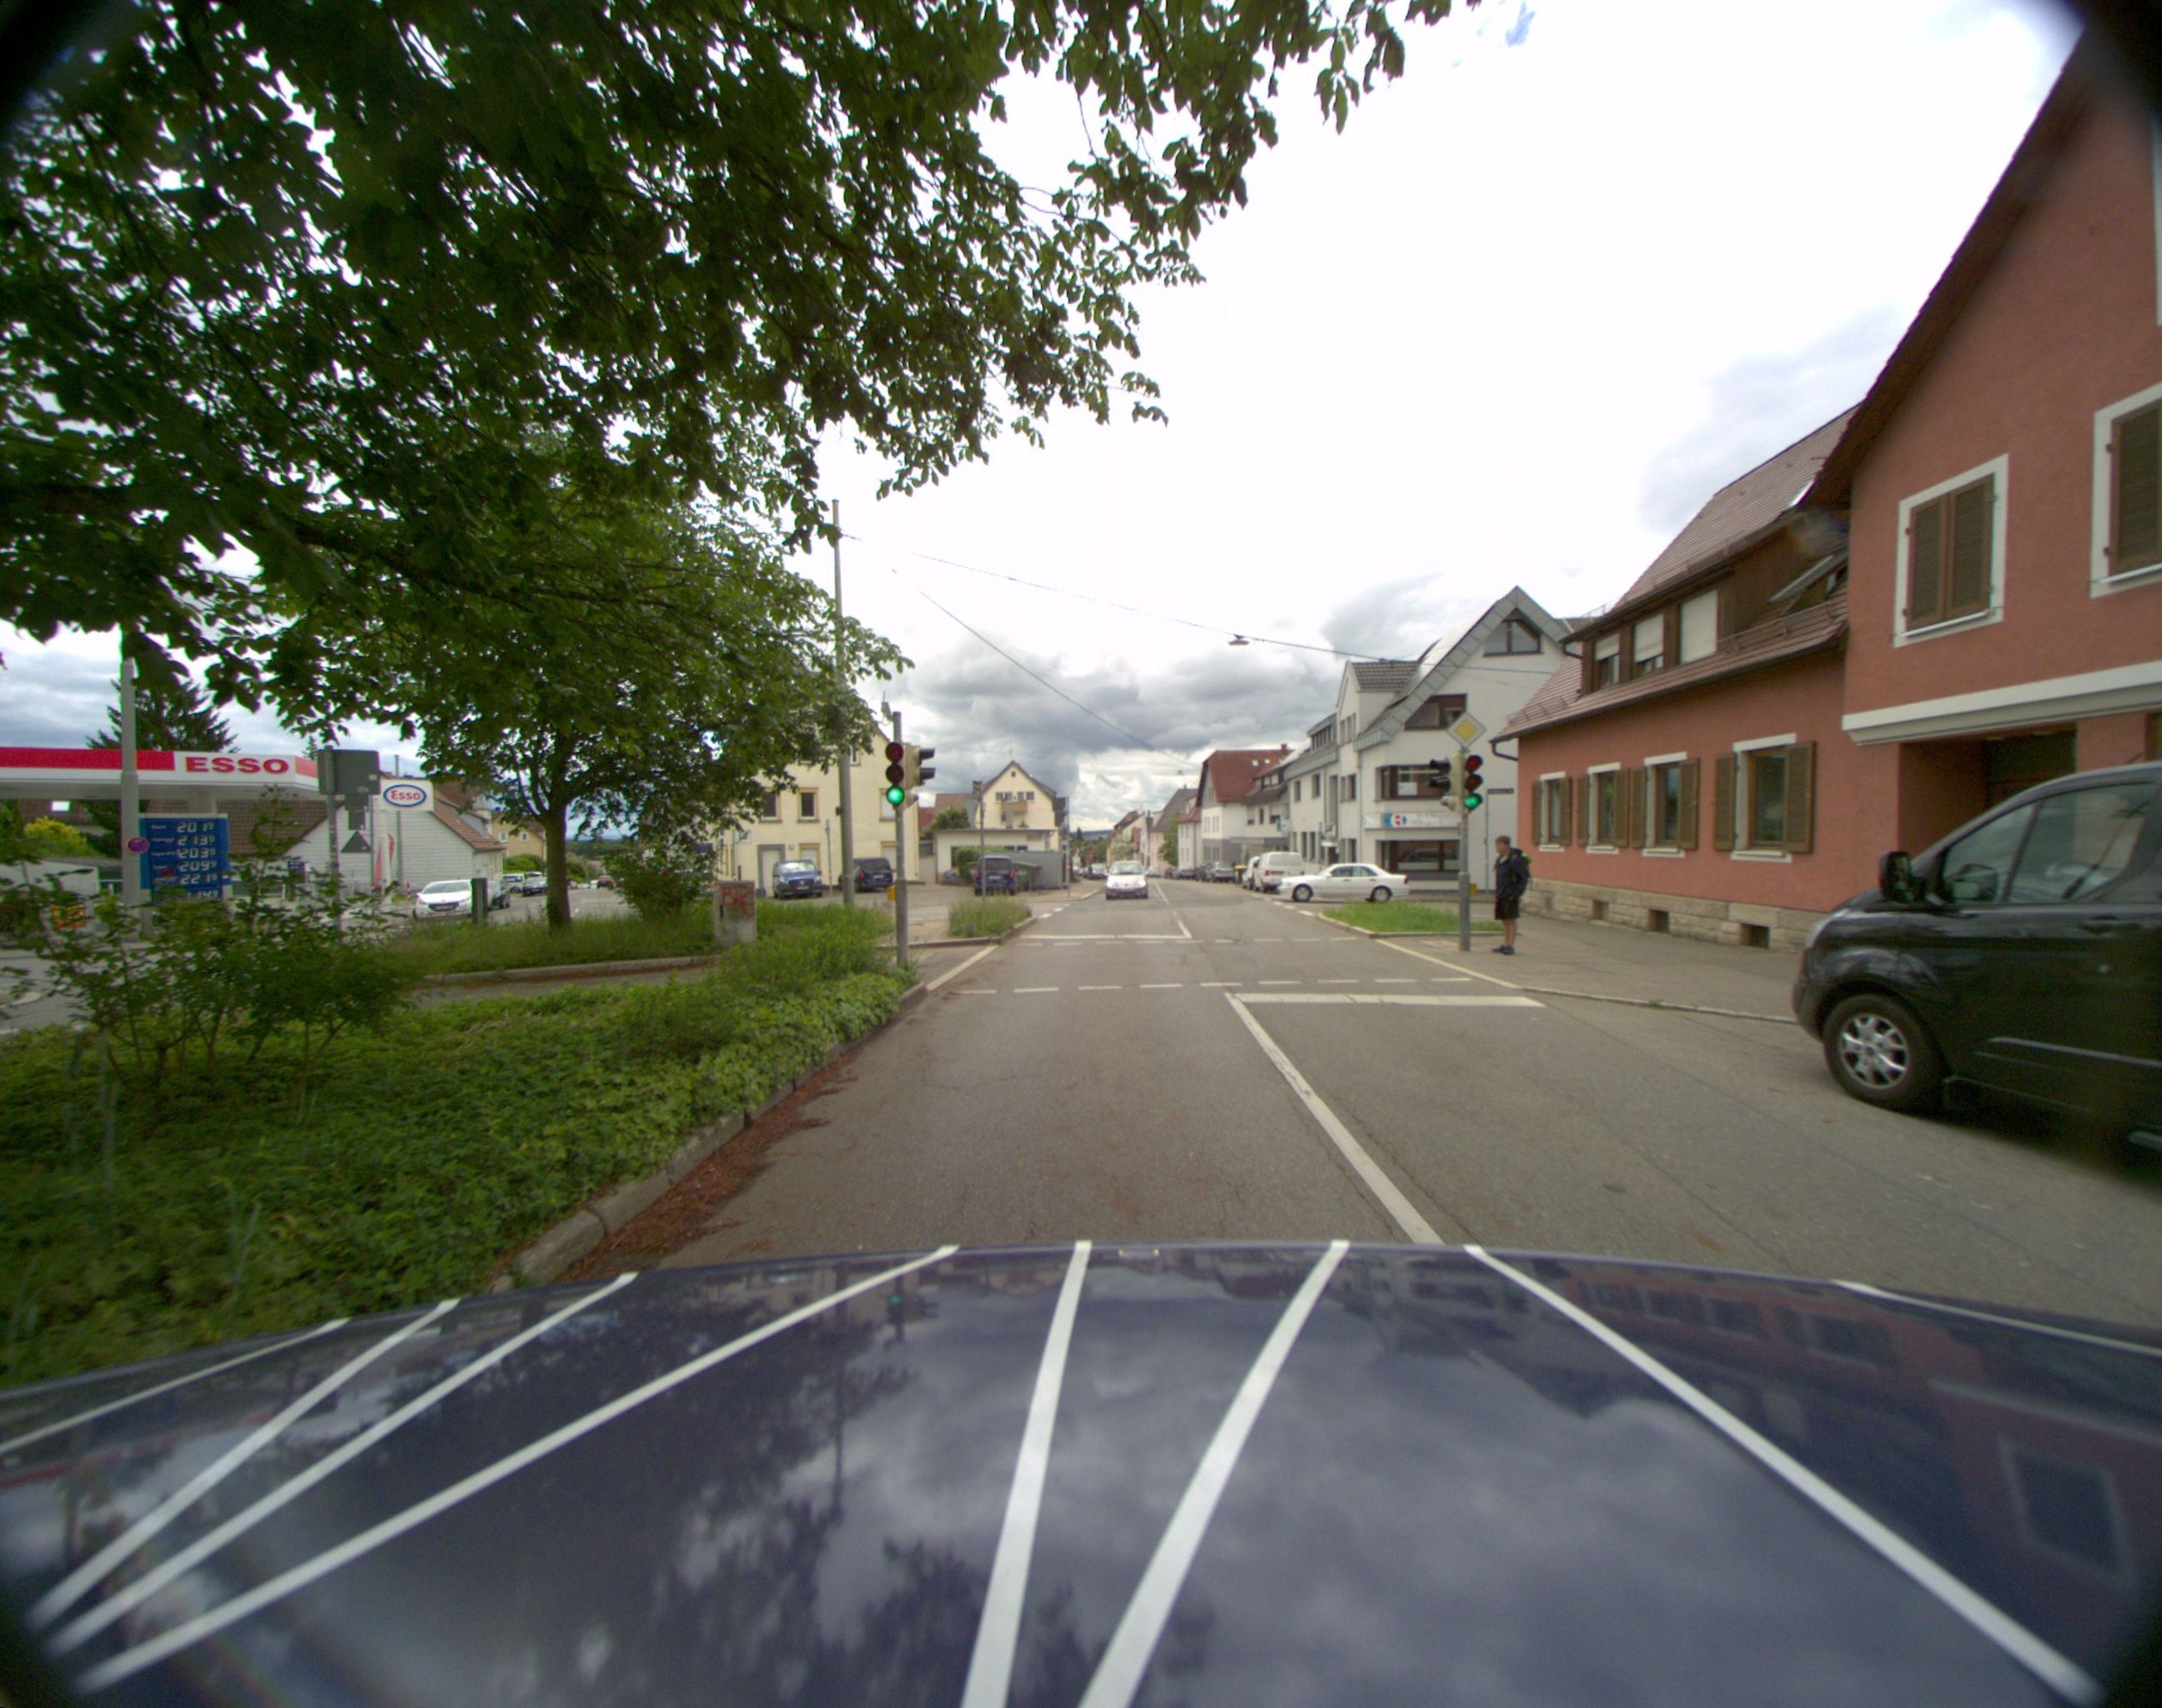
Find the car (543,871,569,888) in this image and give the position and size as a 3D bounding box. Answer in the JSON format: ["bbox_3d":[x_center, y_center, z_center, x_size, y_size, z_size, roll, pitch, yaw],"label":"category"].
[{"bbox_3d":[-55.692,2.709,80.652,1.879,1.586,3.892,-3,0,-31],"label":"car"}]

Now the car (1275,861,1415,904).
[{"bbox_3d":[9.493,1.004,27.721,4.561,1.436,2.002,1,0,10],"label":"car"}]

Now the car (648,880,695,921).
[{"bbox_3d":[-20.613,2.273,38.198,1.778,1.931,4.314,1,-2,-32],"label":"car"}]

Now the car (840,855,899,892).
[{"bbox_3d":[-11.082,1.026,39.618,1.872,1.717,3.991,-3,0,-31],"label":"car"}]

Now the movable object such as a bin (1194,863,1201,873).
[{"bbox_3d":[13.734,1.639,89.469,0.679,1.039,0.759,-3,0,-2],"label":"movable object such as a bin"}]

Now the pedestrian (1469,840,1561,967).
[{"bbox_3d":[6.306,0.706,11.088,0.891,1.774,0.803,-2,0,6],"label":"pedestrian"}]

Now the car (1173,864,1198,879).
[{"bbox_3d":[10.957,1.811,79.583,1.842,1.436,4.467,1,-1,-2],"label":"car"}]

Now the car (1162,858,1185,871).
[{"bbox_3d":[10.409,1.228,85.872,1.843,1.436,3.999,1,-1,-5],"label":"car"}]

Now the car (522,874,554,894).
[{"bbox_3d":[-46.722,2.572,65.448,1.879,1.586,3.892,-3,0,-31],"label":"car"}]

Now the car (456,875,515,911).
[{"bbox_3d":[-29.114,1.896,37.259,1.725,1.586,3.991,-3,0,-31],"label":"car"}]

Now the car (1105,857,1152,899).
[{"bbox_3d":[1.968,0.974,32.311,1.721,1.586,4.000,-3,0,1],"label":"car"}]

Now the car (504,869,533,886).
[{"bbox_3d":[-55.287,2.323,74.696,1.879,1.586,3.892,-3,0,-31],"label":"car"}]

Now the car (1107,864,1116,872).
[{"bbox_3d":[6.812,3.168,172.267,1.706,1.523,3.735,2,-1,-2],"label":"car"}]

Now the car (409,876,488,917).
[{"bbox_3d":[-24.014,1.585,28.992,1.778,1.470,3.822,1,-2,-32],"label":"car"}]

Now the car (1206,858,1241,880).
[{"bbox_3d":[11.201,1.179,60.120,1.842,1.623,4.408,0,-1,-2],"label":"car"}]

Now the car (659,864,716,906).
[{"bbox_3d":[-17.076,1.344,32.902,1.778,1.608,3.991,-3,0,-32],"label":"car"}]

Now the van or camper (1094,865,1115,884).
[{"bbox_3d":[2.785,2.404,90.658,1.999,2.001,5.063,-4,-1,-3],"label":"van or camper"}]

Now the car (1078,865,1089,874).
[{"bbox_3d":[0.412,2.725,135.250,1.613,1.446,3.859,-3,0,-3],"label":"car"}]

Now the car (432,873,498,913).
[{"bbox_3d":[-26.721,1.642,33.053,1.629,1.466,3.759,-2,1,-30],"label":"car"}]

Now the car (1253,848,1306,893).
[{"bbox_3d":[9.595,0.792,37.073,1.815,1.994,4.766,1,-1,7],"label":"car"}]

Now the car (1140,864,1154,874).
[{"bbox_3d":[9.303,2.120,107.850,1.653,1.438,3.774,0,-1,0],"label":"car"}]

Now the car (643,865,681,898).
[{"bbox_3d":[-24.526,1.602,44.446,1.725,1.720,3.991,-3,0,-31],"label":"car"}]

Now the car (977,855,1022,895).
[{"bbox_3d":[-3.709,0.939,35.193,1.751,1.729,4.571,1,-1,-2],"label":"car"}]

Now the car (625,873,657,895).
[{"bbox_3d":[-38.109,2.579,65.737,2.286,1.720,3.991,-3,0,-31],"label":"car"}]

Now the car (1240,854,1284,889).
[{"bbox_3d":[10.116,0.970,42.753,1.737,1.821,4.299,1,-1,4],"label":"car"}]

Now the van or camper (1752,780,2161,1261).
[{"bbox_3d":[5.507,0.700,2.751,2.078,1.993,4.860,1,-1,4],"label":"van or camper"}]

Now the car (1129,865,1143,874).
[{"bbox_3d":[8.926,2.466,123.758,1.706,1.402,3.735,2,-1,-2],"label":"car"}]

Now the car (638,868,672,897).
[{"bbox_3d":[-27.466,1.826,48.894,1.725,1.720,3.991,-3,0,-31],"label":"car"}]

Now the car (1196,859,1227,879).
[{"bbox_3d":[11.289,1.312,65.967,1.842,1.623,4.408,1,-1,-2],"label":"car"}]

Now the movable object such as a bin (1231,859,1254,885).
[{"bbox_3d":[10.368,1.154,48.868,1.143,1.623,1.563,0,-1,-2],"label":"movable object such as a bin"}]

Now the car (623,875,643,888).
[{"bbox_3d":[-63.858,3.969,108.243,2.286,1.720,3.991,-3,0,-31],"label":"car"}]

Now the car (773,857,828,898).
[{"bbox_3d":[-13.773,1.133,37.084,1.905,1.792,4.884,-3,0,-27],"label":"car"}]

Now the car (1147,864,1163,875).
[{"bbox_3d":[9.963,2.093,102.738,1.654,1.438,3.811,0,-1,-2],"label":"car"}]
